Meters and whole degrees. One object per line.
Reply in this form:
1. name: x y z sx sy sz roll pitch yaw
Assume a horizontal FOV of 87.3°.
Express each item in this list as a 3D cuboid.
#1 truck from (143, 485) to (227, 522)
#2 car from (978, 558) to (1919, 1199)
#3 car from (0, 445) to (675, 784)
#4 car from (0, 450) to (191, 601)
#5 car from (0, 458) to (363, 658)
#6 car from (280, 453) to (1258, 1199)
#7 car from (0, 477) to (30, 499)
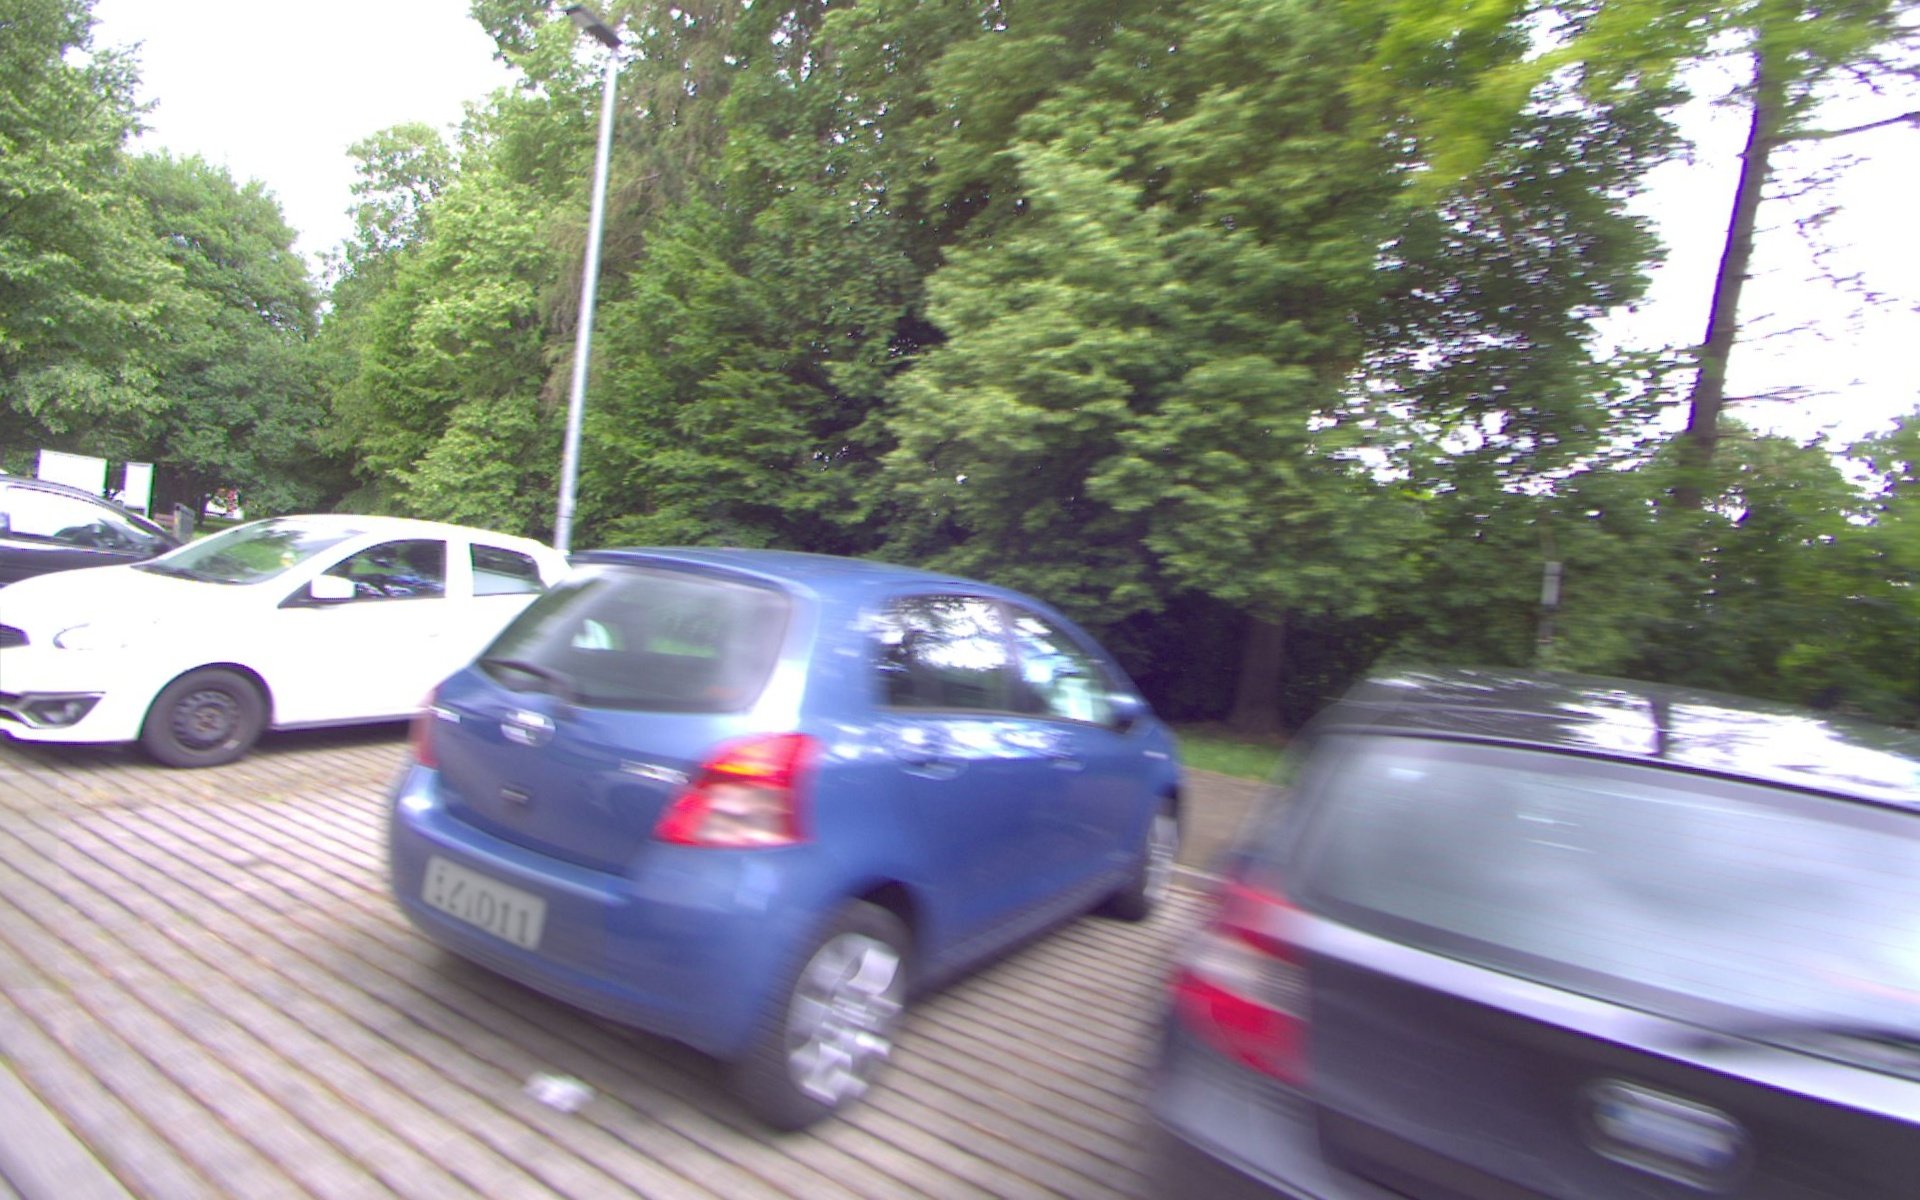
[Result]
1. truck: -70.264 -8.734 91.299 2.160 2.456 5.503 7 0 38
2. car: 1.823 0.880 2.971 1.755 1.482 4.091 7 0 30
3. car: -4.191 0.095 6.997 1.755 1.590 4.166 7 0 27
4. car: -12.588 -1.053 12.156 1.943 1.715 4.816 7 2 35
5. car: -8.237 -0.406 9.353 1.821 1.590 4.161 7 0 33
6. car: -0.179 0.567 4.345 1.755 1.590 4.140 7 0 30
7. car: -78.120 -9.267 81.095 1.678 1.445 4.426 7 0 38
